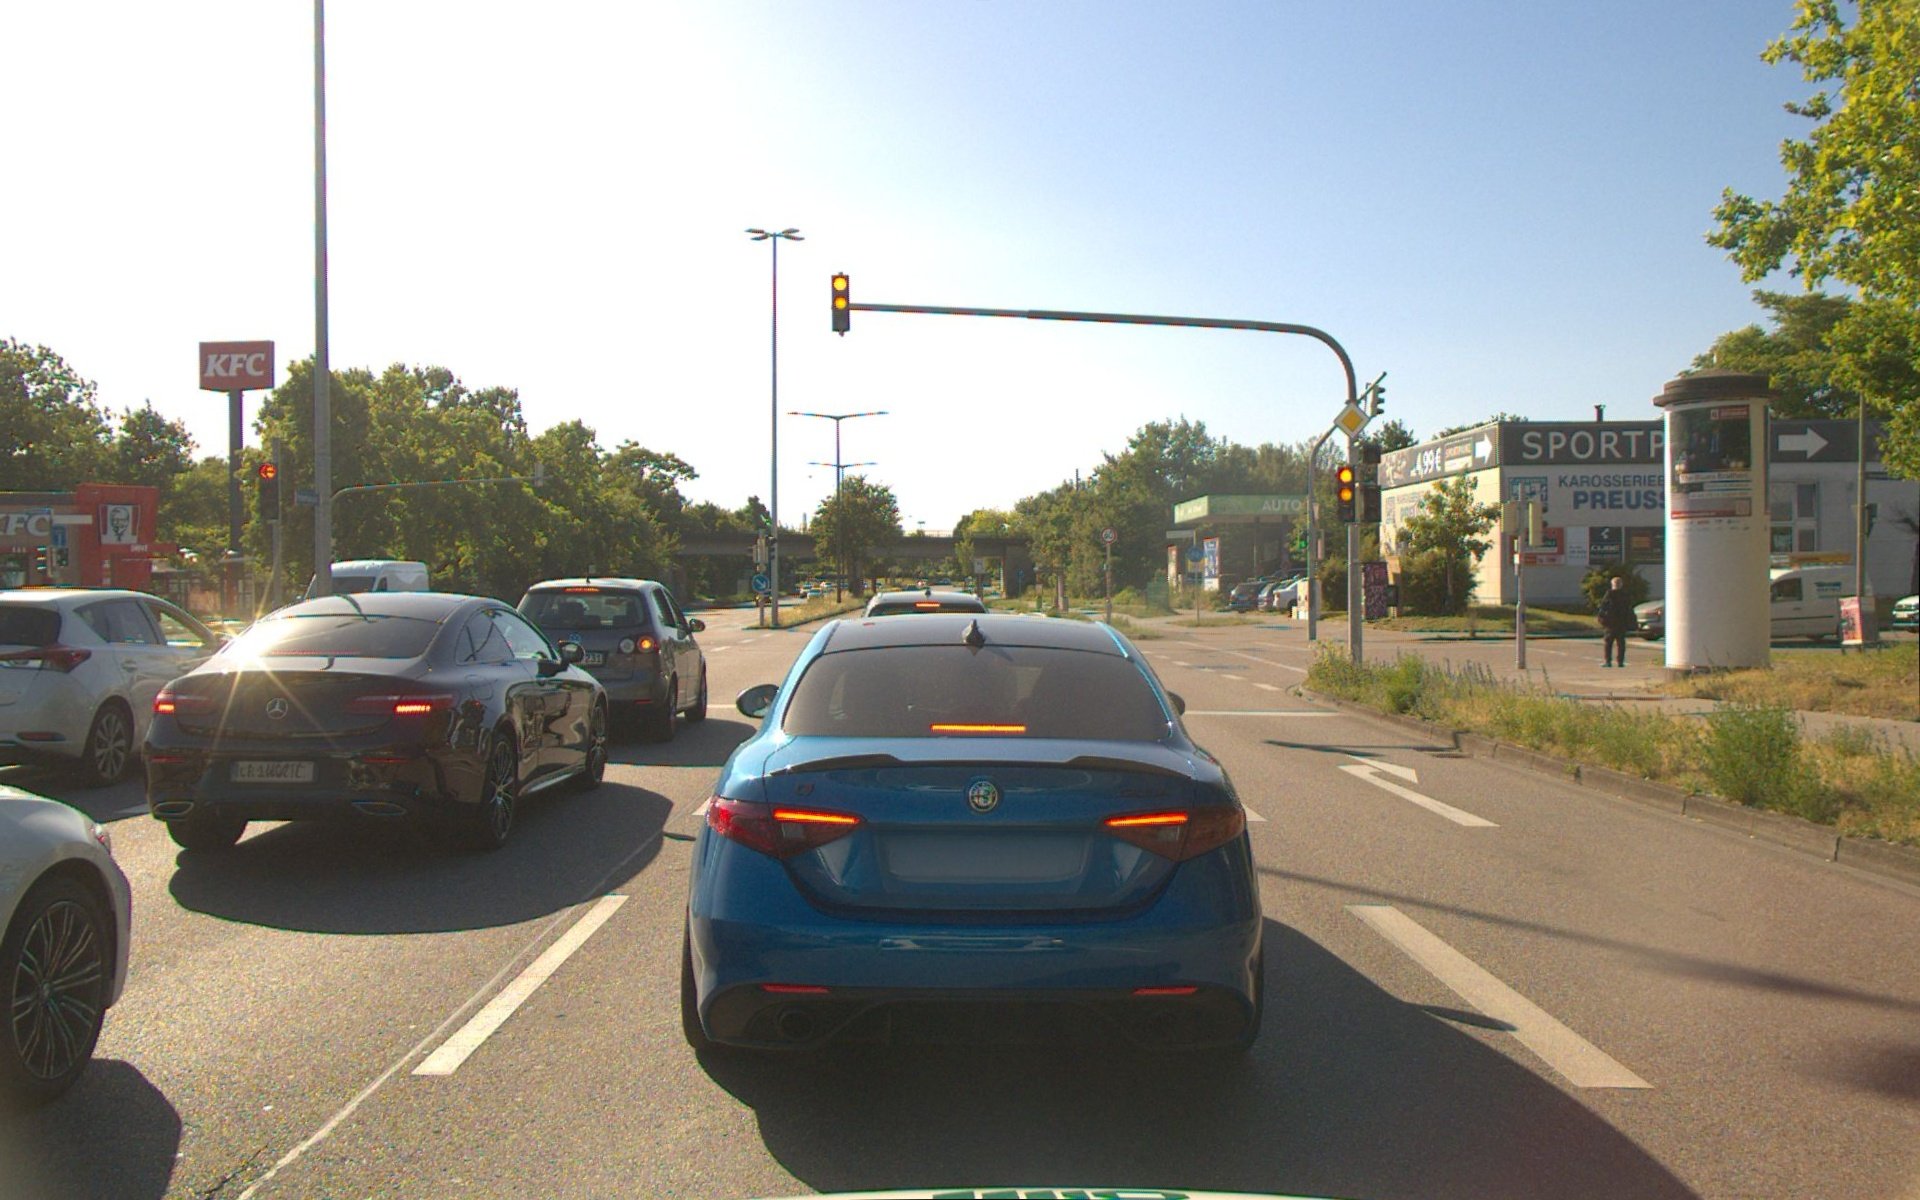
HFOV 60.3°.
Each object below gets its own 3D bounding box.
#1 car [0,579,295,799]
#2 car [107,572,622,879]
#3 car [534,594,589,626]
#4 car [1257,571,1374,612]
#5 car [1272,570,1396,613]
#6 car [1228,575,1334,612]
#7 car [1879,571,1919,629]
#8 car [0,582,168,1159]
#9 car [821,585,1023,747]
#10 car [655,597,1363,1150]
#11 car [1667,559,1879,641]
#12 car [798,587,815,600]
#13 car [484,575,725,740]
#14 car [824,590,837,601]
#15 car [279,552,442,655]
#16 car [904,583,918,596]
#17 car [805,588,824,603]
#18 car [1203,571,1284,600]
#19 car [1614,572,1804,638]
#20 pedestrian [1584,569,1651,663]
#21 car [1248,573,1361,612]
[{"bbox_3d":[-7.113,0.613,13.534,1.723,1.516,4.195,1,0,-2],"label":"car"},{"bbox_3d":[-3.437,0.641,10.536,1.760,1.516,4.474,1,0,-2],"label":"car"},{"bbox_3d":[-20.480,0.506,85.139,1.723,1.516,4.477,-3,0,-1],"label":"car"},{"bbox_3d":[14.486,-0.329,67.556,4.397,1.479,1.858,-2,0,1],"label":"car"},{"bbox_3d":[14.610,-0.329,64.779,4.397,1.479,1.858,-2,0,1],"label":"car"},{"bbox_3d":[14.402,-0.298,74.359,4.397,1.479,1.858,-2,0,1],"label":"car"},{"bbox_3d":[26.729,-0.064,43.674,3.960,1.516,1.782,-2,0,-3],"label":"car"},{"bbox_3d":[-3.342,0.691,3.032,1.749,1.516,4.401,1,0,-2],"label":"car"},{"bbox_3d":[-0.412,0.605,17.206,1.813,1.443,4.401,1,0,-2],"label":"car"},{"bbox_3d":[0.069,0.736,6.578,1.857,1.443,4.401,1,0,-2],"label":"car"},{"bbox_3d":[19.627,-0.031,40.025,4.293,1.833,1.764,-1,2,-2],"label":"car"},{"bbox_3d":[-19.165,-0.787,206.413,1.723,1.516,4.477,-2,0,-1],"label":"car"},{"bbox_3d":[-3.622,0.544,17.634,1.723,1.516,4.401,1,0,-2],"label":"car"},{"bbox_3d":[-18.703,-0.687,239.024,1.583,1.586,3.357,1,0,-1],"label":"car"},{"bbox_3d":[-16.072,0.074,44.720,1.980,2.489,5.823,-3,0,2],"label":"car"},{"bbox_3d":[-7.081,-1.550,239.694,1.853,1.847,3.999,1,0,-1],"label":"car"},{"bbox_3d":[-15.512,-0.435,176.439,1.723,1.516,3.836,-2,0,-1],"label":"car"},{"bbox_3d":[16.724,-0.861,97.567,4.457,1.516,1.765,-2,0,1],"label":"car"},{"bbox_3d":[19.597,0.105,43.360,4.201,1.576,1.764,-1,2,-2],"label":"car"},{"bbox_3d":[12.709,0.304,32.007,0.906,1.765,0.938,1,-1,-1],"label":"pedestrian"},{"bbox_3d":[14.630,-0.306,70.312,4.397,1.479,1.858,-2,0,1],"label":"car"}]
